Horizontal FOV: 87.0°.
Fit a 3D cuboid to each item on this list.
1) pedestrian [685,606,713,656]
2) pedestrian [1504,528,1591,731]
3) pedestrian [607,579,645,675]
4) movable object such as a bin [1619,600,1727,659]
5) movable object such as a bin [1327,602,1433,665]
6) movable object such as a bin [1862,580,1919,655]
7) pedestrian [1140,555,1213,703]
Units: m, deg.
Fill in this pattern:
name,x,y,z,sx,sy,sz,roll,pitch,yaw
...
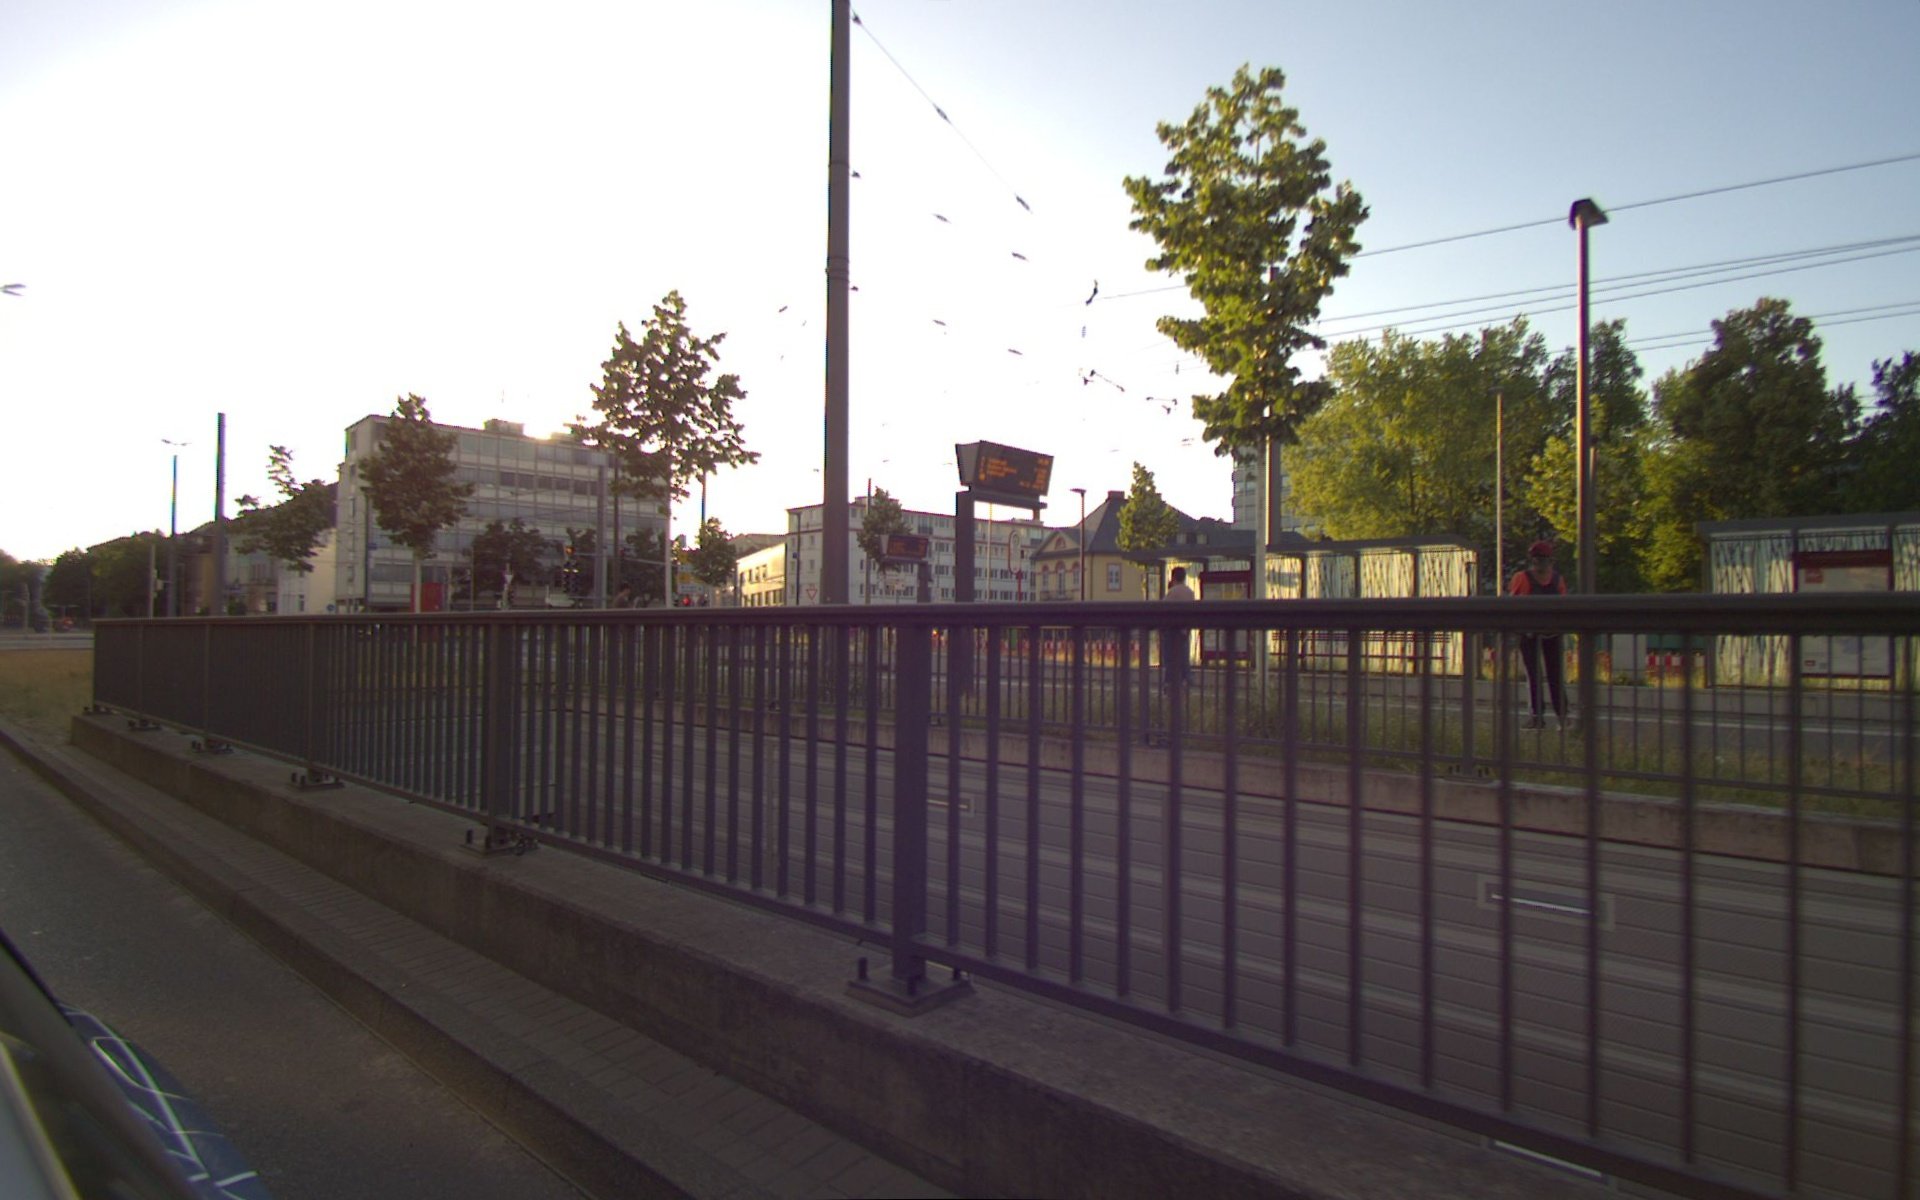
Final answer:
name,x,y,z,sx,sy,sz,roll,pitch,yaw
pedestrian,-9.650,1.134,37.398,0.817,1.812,0.686,-1,-2,44
pedestrian,5.278,0.266,9.123,0.633,1.742,0.630,-1,-2,29
pedestrian,-6.354,0.511,19.265,0.465,1.800,0.627,2,-2,-41
movable object such as a bin,34.351,1.394,48.821,4.001,2.727,1.971,-1,-2,44
movable object such as a bin,19.044,1.496,45.990,1.967,2.727,4.010,1,-2,-35
movable object such as a bin,35.779,0.647,37.079,4.001,2.727,1.971,-1,-2,44
pedestrian,2.669,0.359,12.475,0.634,1.758,0.719,-2,-2,34
